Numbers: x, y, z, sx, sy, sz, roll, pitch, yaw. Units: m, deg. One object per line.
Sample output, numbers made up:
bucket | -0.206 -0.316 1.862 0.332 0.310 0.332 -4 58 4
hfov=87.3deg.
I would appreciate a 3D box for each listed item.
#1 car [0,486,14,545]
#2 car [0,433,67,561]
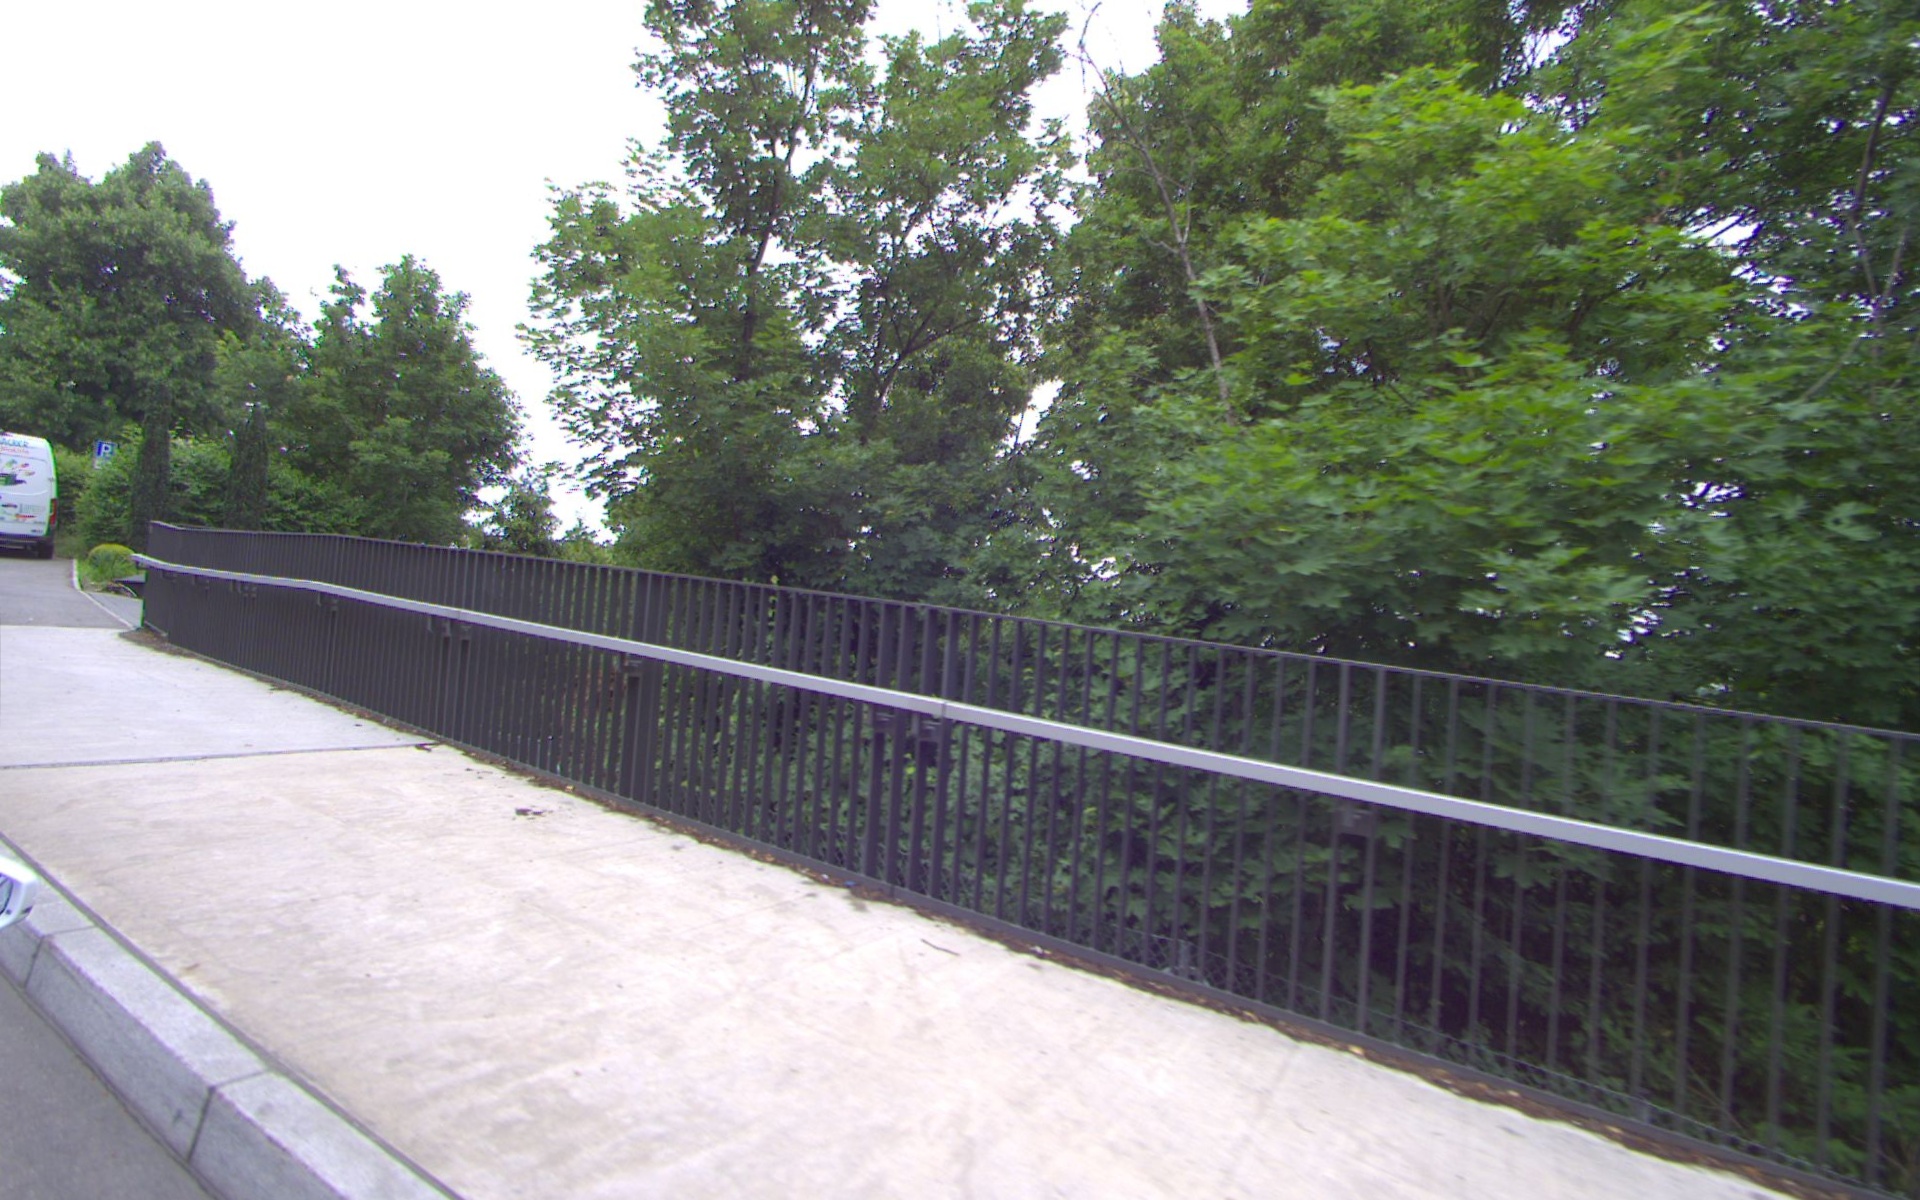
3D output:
car | -26.374 -2.361 26.353 3.778 1.482 1.700 6 -1 38
car | -21.956 -2.380 22.876 2.077 2.555 5.771 5 1 -44
